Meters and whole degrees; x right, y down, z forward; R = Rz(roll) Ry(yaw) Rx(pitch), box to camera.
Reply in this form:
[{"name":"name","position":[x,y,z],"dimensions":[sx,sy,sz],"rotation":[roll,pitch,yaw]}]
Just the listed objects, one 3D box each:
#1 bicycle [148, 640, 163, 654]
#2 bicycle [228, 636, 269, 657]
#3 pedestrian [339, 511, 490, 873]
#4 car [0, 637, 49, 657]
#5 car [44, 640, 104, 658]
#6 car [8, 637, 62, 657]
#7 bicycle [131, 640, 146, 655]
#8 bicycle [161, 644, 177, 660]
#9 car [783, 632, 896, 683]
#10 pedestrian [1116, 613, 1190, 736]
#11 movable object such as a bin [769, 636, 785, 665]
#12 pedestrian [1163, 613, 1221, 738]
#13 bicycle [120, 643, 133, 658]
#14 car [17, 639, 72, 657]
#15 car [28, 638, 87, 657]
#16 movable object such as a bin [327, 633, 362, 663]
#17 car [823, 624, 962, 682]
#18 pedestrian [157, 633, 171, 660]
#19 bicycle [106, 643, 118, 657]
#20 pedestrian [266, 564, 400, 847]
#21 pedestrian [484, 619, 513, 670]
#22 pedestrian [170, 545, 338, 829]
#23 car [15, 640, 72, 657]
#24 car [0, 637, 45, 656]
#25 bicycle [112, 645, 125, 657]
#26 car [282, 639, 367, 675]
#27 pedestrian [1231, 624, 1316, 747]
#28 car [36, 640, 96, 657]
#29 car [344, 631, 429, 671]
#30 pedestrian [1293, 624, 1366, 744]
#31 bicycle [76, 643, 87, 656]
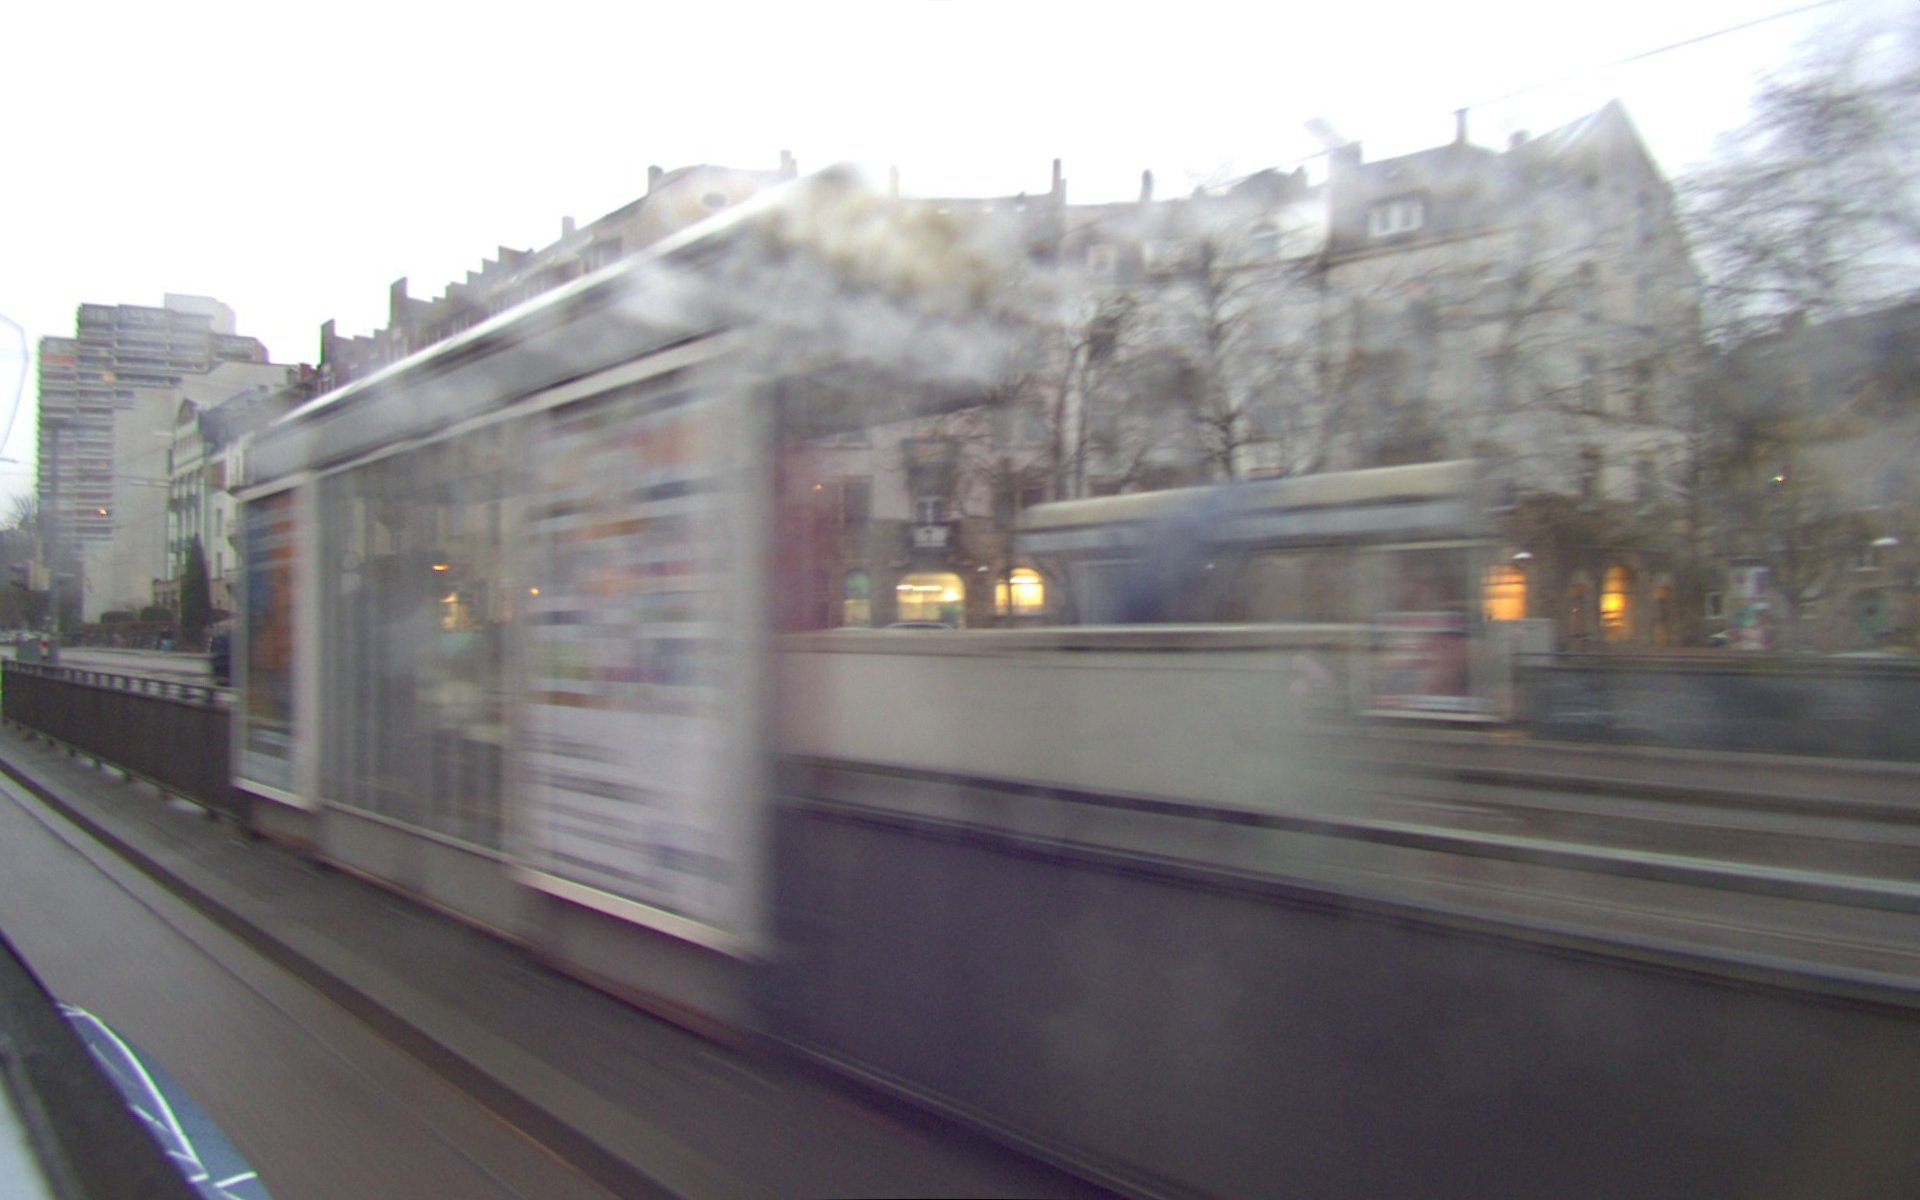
[{"name":"bicycle","position":[-53.517,3.132,67.329],"dimensions":[0.523,0.896,2.210],"rotation":[-3,1,-45]},{"name":"bicycle","position":[-43.722,2.860,62.173],"dimensions":[0.531,1.167,1.964],"rotation":[-2,1,40]},{"name":"pedestrian","position":[-3.222,0.506,5.982],"dimensions":[0.570,2.002,0.551],"rotation":[-2,1,42]},{"name":"car","position":[-96.467,4.811,104.179],"dimensions":[1.726,1.730,3.791],"rotation":[-2,1,41]},{"name":"car","position":[-77.214,4.231,88.227],"dimensions":[1.726,1.424,3.790],"rotation":[-2,-2,41]},{"name":"car","position":[-93.938,4.755,102.797],"dimensions":[1.726,1.730,3.790],"rotation":[-3,0,41]},{"name":"bicycle","position":[-57.241,3.300,70.515],"dimensions":[2.209,1.014,0.478],"rotation":[-2,1,43]},{"name":"bicycle","position":[-50.035,3.265,64.018],"dimensions":[0.523,0.947,2.087],"rotation":[-3,1,-45]},{"name":"car","position":[-4.210,1.988,35.280],"dimensions":[3.765,1.483,1.617],"rotation":[-3,1,-9]},{"name":"pedestrian","position":[2.346,0.883,12.304],"dimensions":[0.578,1.414,0.677],"rotation":[-2,1,40]},{"name":"movable object such as a bin","position":[-7.400,2.043,40.924],"dimensions":[0.638,1.144,0.693],"rotation":[0,-2,-13]},{"name":"pedestrian","position":[2.727,0.872,11.886],"dimensions":[0.453,1.414,0.468],"rotation":[-2,1,41]},{"name":"bicycle","position":[-60.153,3.649,73.051],"dimensions":[1.712,1.014,0.429],"rotation":[-2,1,43]},{"name":"car","position":[-89.125,4.666,98.576],"dimensions":[1.726,1.424,3.791],"rotation":[-2,1,41]},{"name":"car","position":[-81.583,4.308,91.549],"dimensions":[1.726,1.424,3.791],"rotation":[-2,1,41]},{"name":"movable object such as a bin","position":[-31.704,2.445,52.108],"dimensions":[1.073,1.442,1.224],"rotation":[-2,1,39]},{"name":"car","position":[-2.191,1.653,32.339],"dimensions":[4.276,1.595,1.940],"rotation":[-2,0,-6]},{"name":"pedestrian","position":[-49.279,2.892,62.651],"dimensions":[0.448,1.654,0.567],"rotation":[-2,1,34]},{"name":"bicycle","position":[-63.141,3.739,75.320],"dimensions":[1.605,1.014,0.429],"rotation":[-2,1,43]},{"name":"pedestrian","position":[-4.138,0.655,6.678],"dimensions":[0.570,1.754,0.551],"rotation":[-2,1,42]},{"name":"pedestrian","position":[-17.671,1.701,38.790],"dimensions":[0.785,1.892,0.897],"rotation":[-2,0,-13]},{"name":"pedestrian","position":[-5.235,0.595,7.519],"dimensions":[0.570,1.970,0.845],"rotation":[-2,1,41]},{"name":"car","position":[-86.133,4.541,95.175],"dimensions":[1.726,1.424,3.790],"rotation":[-3,0,41]},{"name":"car","position":[-99.329,4.887,106.914],"dimensions":[1.726,1.730,3.791],"rotation":[-2,1,41]},{"name":"bicycle","position":[-61.626,3.701,74.118],"dimensions":[1.767,0.838,0.436],"rotation":[-2,1,43]},{"name":"car","position":[-28.731,2.551,45.729],"dimensions":[4.502,1.400,1.785],"rotation":[-2,1,38]},{"name":"pedestrian","position":[3.535,0.930,11.380],"dimensions":[0.506,1.264,1.045],"rotation":[-2,1,40]},{"name":"car","position":[-79.346,4.289,89.846],"dimensions":[1.726,1.424,3.790],"rotation":[-3,-3,41]},{"name":"car","position":[-24.194,2.141,42.664],"dimensions":[3.670,1.527,1.658],"rotation":[-2,1,35]},{"name":"pedestrian","position":[4.041,0.898,11.055],"dimensions":[0.517,1.227,0.646],"rotation":[-2,1,40]},{"name":"bicycle","position":[-72.547,4.086,83.550],"dimensions":[1.881,1.014,0.463],"rotation":[-2,1,43]}]
